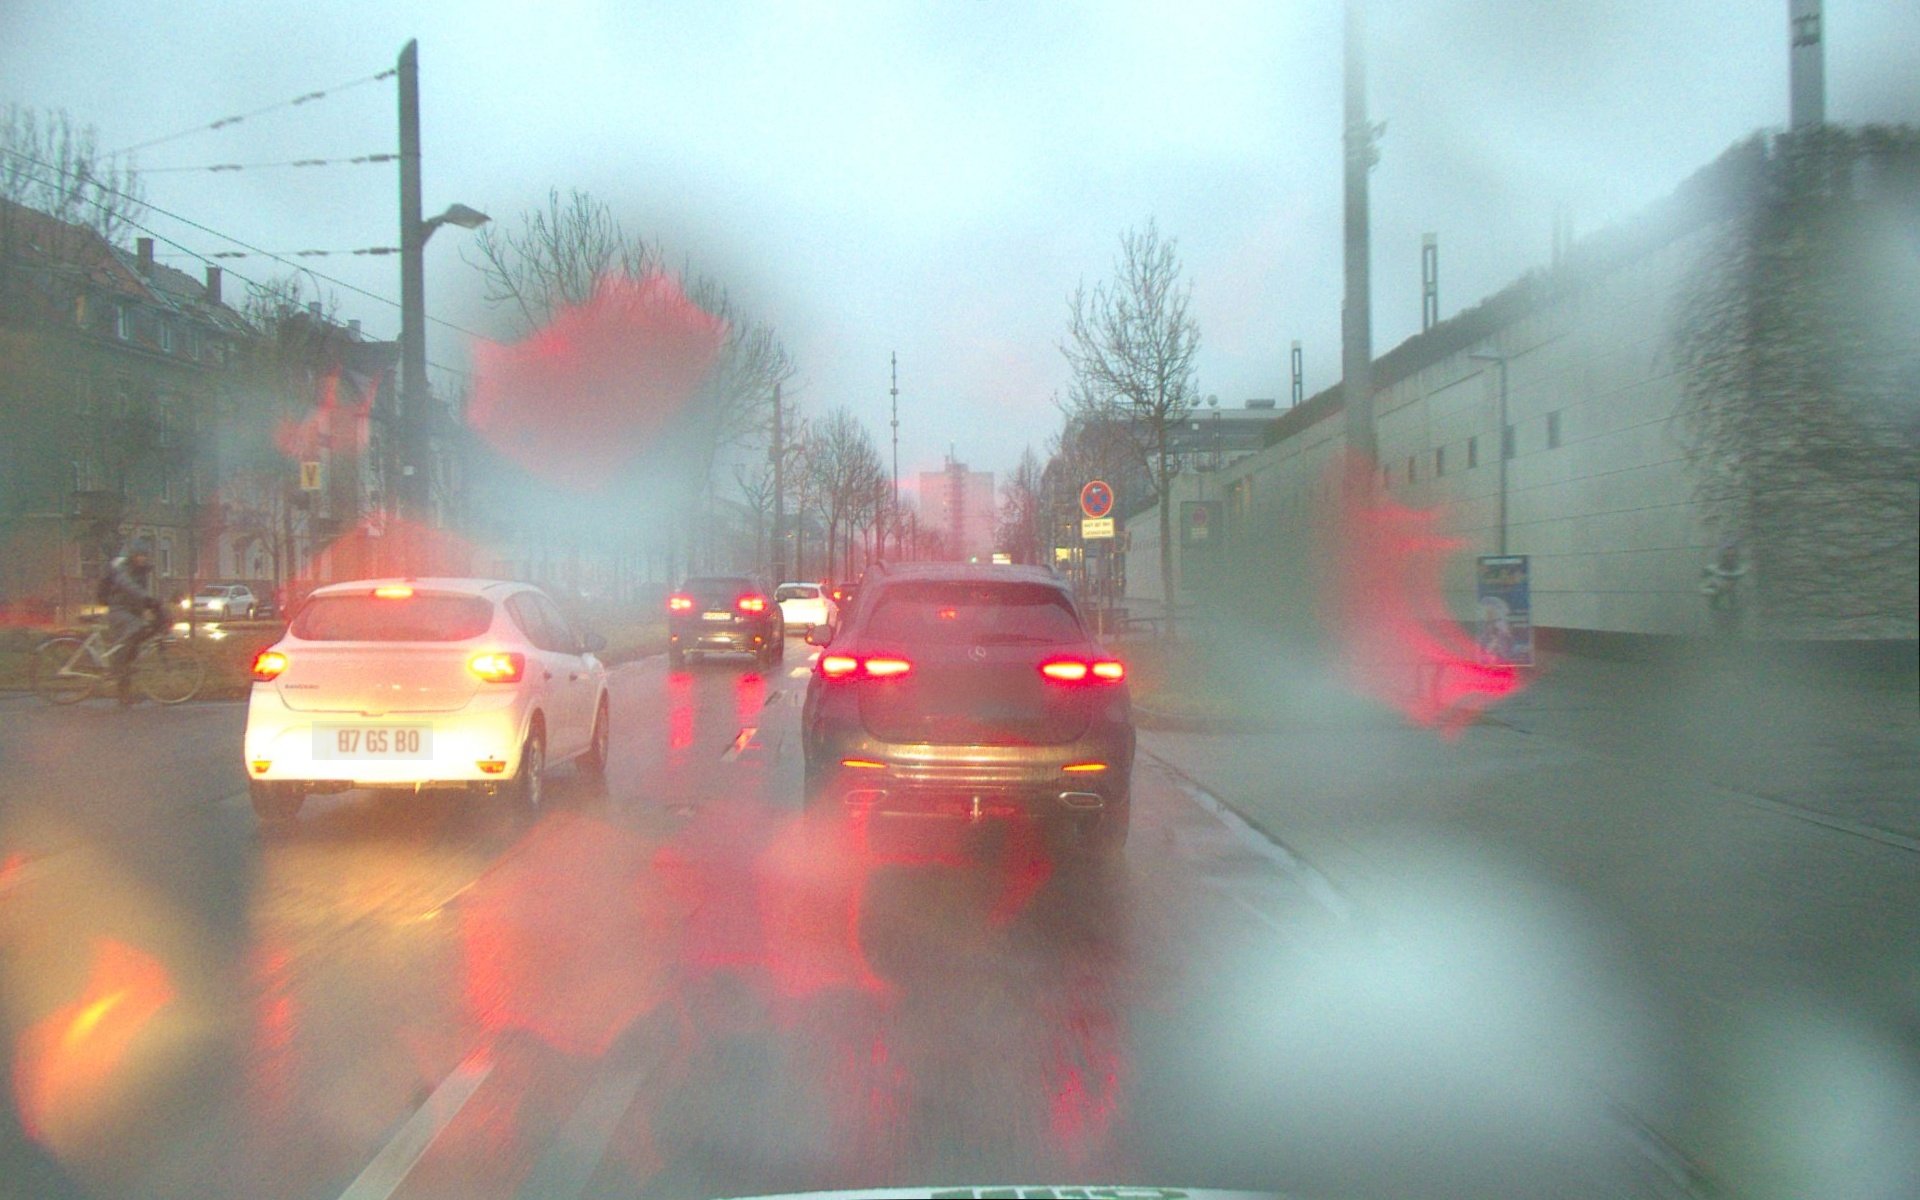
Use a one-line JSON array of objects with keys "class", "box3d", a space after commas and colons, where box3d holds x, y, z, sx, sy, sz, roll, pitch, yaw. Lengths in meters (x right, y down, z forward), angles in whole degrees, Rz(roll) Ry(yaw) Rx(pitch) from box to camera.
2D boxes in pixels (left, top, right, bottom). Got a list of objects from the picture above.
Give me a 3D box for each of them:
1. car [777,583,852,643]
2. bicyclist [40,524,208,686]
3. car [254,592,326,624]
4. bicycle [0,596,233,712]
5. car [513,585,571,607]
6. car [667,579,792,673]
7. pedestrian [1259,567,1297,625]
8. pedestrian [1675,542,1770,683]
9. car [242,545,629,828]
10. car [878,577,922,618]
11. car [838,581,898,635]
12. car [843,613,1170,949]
[{"class": "car", "box3d": [-4.080, 0.337, 46.804, 1.637, 1.628, 4.054, 0, 0, 2]}, {"class": "bicyclist", "box3d": [-9.329, 0.045, 18.511, 1.618, 1.730, 1.030, -1, 0, -27]}, {"class": "car", "box3d": [-30.136, 0.340, 74.514, 1.739, 1.377, 3.557, -1, 1, 0]}, {"class": "bicycle", "box3d": [-9.428, 0.575, 18.446, 2.366, 1.191, 1.030, -1, 0, -27]}, {"class": "car", "box3d": [-27.170, -0.285, 107.439, 3.484, 1.378, 1.776, 0, 1, 35]}, {"class": "car", "box3d": [-4.226, 0.440, 30.880, 1.637, 1.628, 4.054, 0, 0, 2]}, {"class": "pedestrian", "box3d": [9.149, -0.110, 47.606, 0.918, 1.646, 0.694, -1, 0, -2]}, {"class": "pedestrian", "box3d": [9.119, 0.139, 19.813, 0.608, 1.639, 1.066, -1, 0, -3]}, {"class": "car", "box3d": [-3.435, 0.493, 11.596, 1.639, 1.628, 4.050, 0, 0, -4]}, {"class": "car", "box3d": [-3.116, -0.116, 86.979, 1.952, 2.049, 4.001, 1, 0, 2]}, {"class": "car", "box3d": [-3.651, 0.315, 66.048, 1.952, 2.049, 4.001, 1, 0, 2]}, {"class": "car", "box3d": [0.292, 0.930, 10.384, 1.637, 1.628, 4.054, 0, 0, 2]}]
